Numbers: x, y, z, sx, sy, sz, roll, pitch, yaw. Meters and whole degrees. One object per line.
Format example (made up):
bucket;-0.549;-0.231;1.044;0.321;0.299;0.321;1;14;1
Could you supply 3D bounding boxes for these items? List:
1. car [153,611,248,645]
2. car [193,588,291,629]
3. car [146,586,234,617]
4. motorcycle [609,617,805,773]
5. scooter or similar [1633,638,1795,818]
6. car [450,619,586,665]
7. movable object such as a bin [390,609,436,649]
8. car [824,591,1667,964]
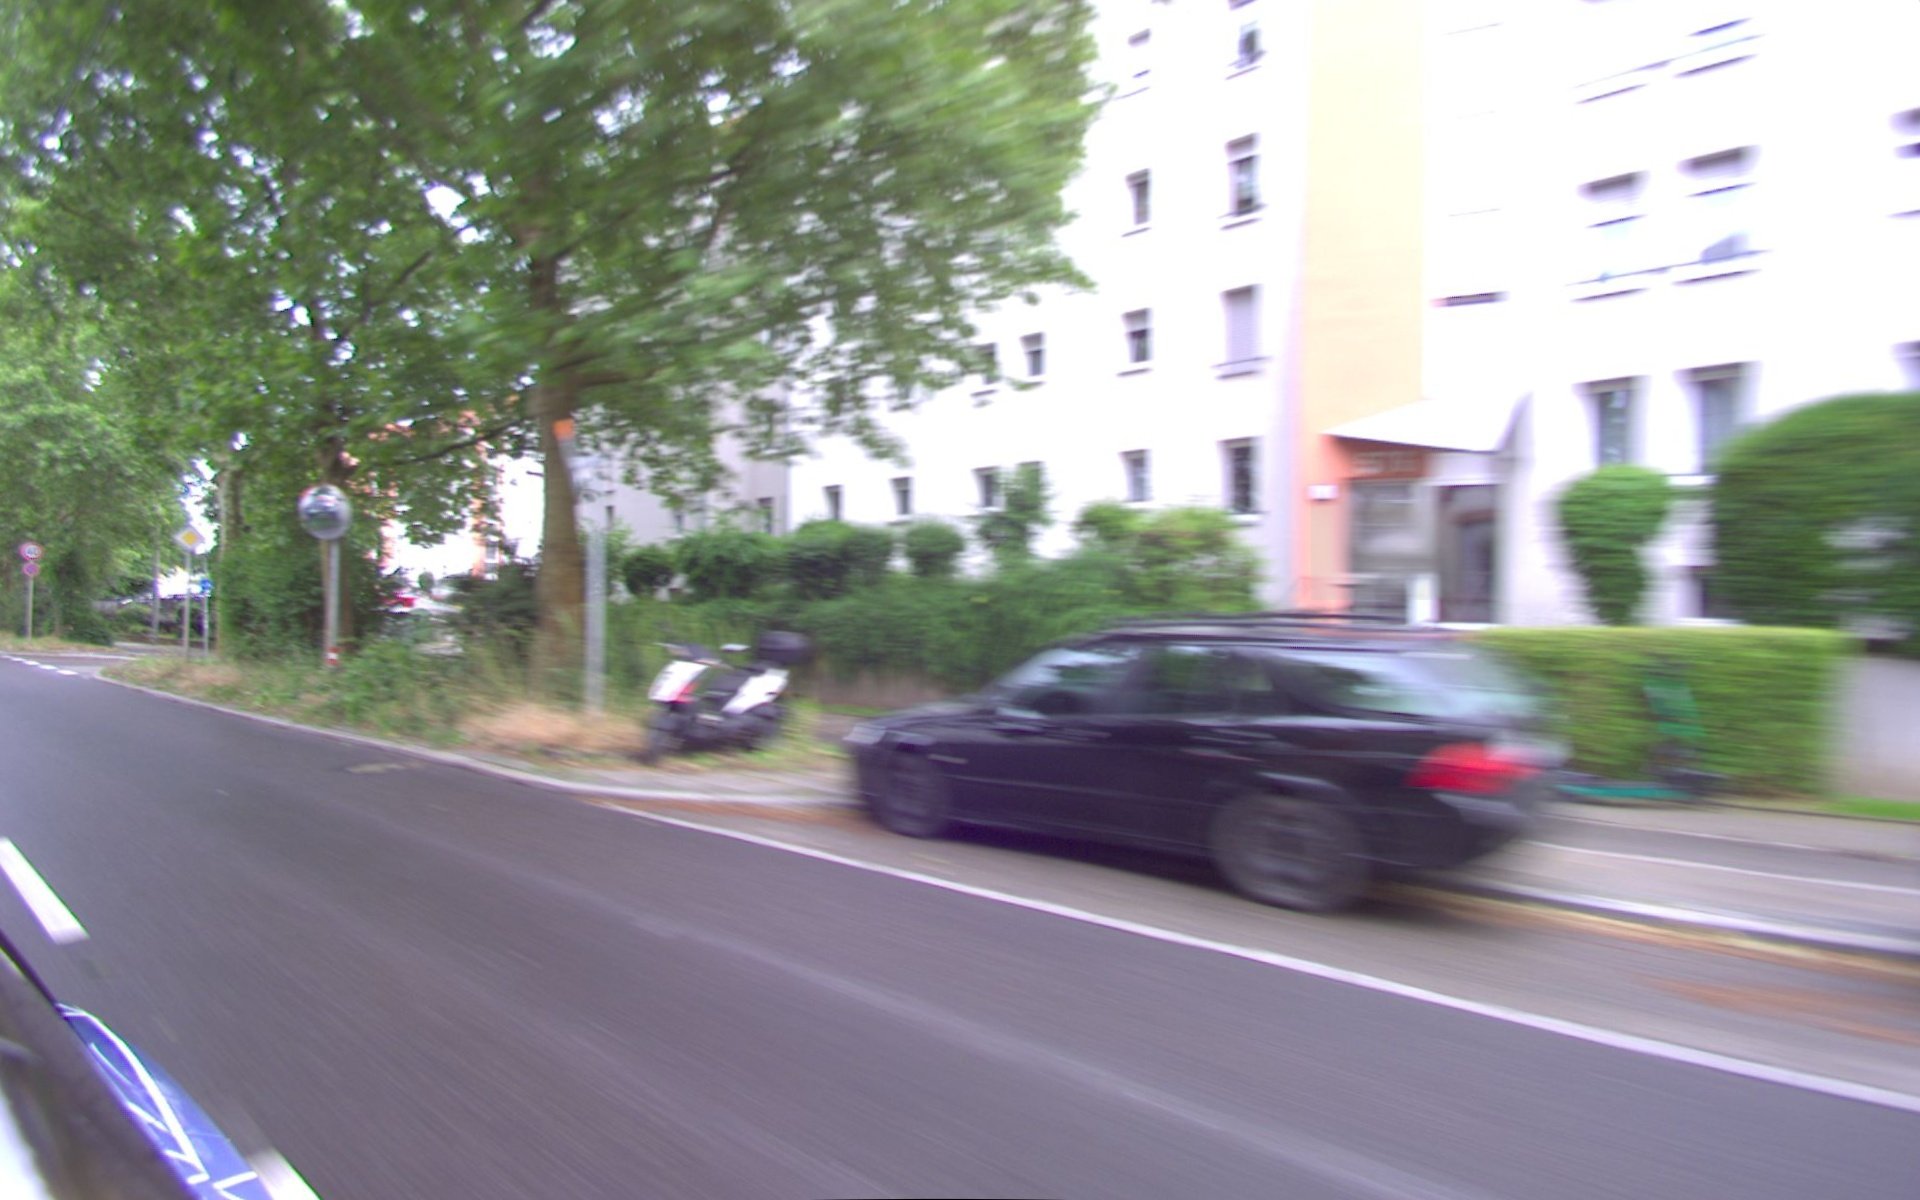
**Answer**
car;-42.741;1.573;57.001;1.958;1.808;3.945;-1;-2;41
car;-37.465;0.471;52.860;3.940;2.029;1.958;2;-2;-43
car;-44.746;0.065;58.835;1.736;1.701;3.756;0;1;38
motorcycle;-2.378;0.859;9.682;0.722;1.350;1.695;-1;-3;41
scooter or similar;6.274;1.017;8.478;1.025;1.379;0.772;-1;-2;35
car;-15.314;1.409;35.176;3.939;1.488;1.909;1;-1;-43
movable object such as a bin;-22.204;1.163;41.065;1.300;1.474;1.150;-1;4;40
car;1.420;0.764;6.328;4.799;1.521;1.700;-1;-1;39
